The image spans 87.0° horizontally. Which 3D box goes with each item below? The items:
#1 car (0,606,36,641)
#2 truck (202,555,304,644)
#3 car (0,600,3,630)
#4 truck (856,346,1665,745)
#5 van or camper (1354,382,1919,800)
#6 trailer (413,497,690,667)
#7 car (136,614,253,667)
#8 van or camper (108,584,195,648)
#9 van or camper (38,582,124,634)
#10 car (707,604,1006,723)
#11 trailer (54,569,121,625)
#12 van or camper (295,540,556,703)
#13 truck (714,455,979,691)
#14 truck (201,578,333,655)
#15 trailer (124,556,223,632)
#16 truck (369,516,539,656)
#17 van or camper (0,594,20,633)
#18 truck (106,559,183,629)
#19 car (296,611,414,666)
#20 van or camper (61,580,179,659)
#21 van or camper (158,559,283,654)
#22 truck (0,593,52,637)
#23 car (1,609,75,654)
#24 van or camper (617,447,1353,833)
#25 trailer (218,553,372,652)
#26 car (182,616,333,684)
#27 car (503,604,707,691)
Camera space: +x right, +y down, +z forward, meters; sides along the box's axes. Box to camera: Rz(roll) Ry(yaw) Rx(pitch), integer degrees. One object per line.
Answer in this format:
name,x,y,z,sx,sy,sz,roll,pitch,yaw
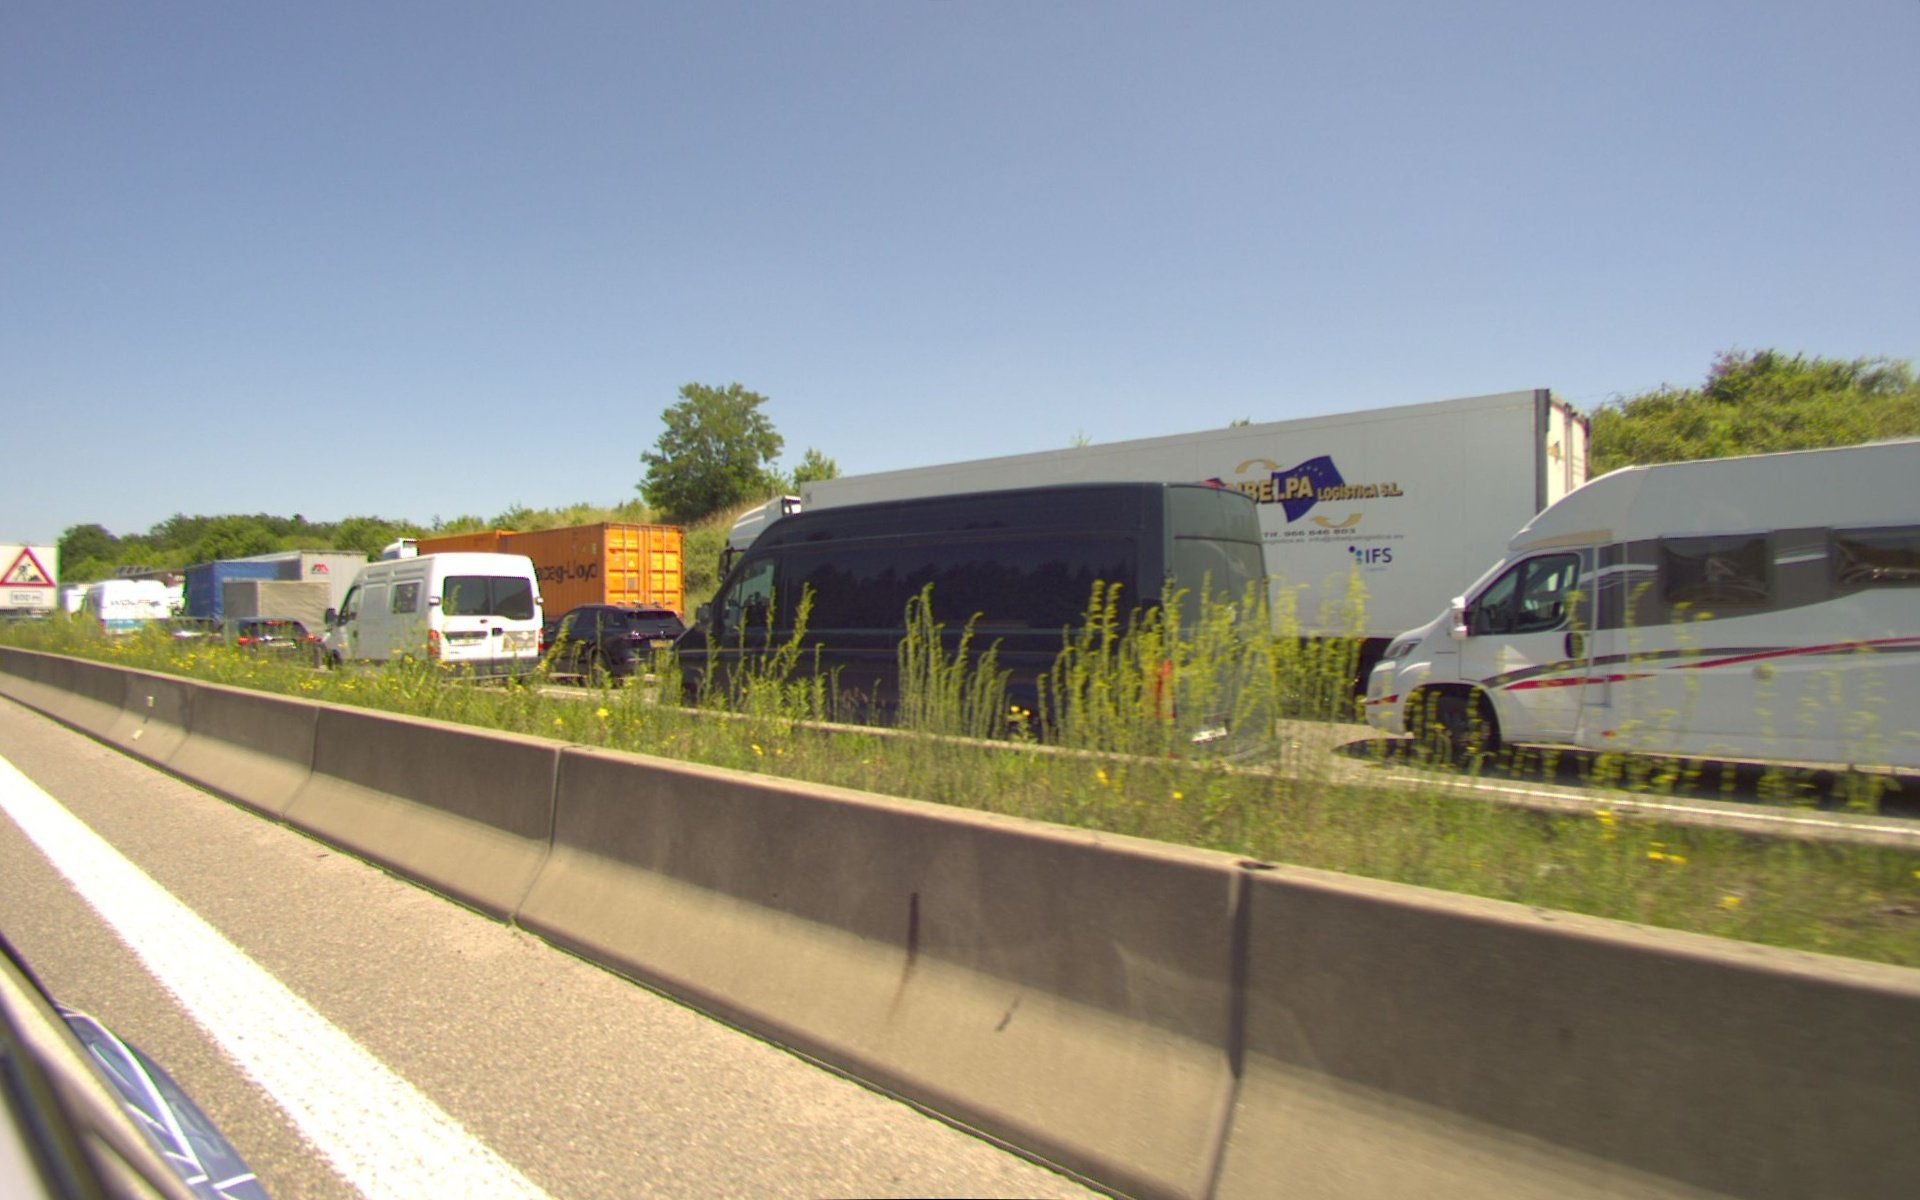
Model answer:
car,-49.974,1.208,53.029,4.971,1.743,1.793,0,0,41
truck,-35.277,-0.019,50.447,6.138,4.158,2.772,0,0,41
car,-59.482,0.914,61.196,5.541,1.823,1.793,0,0,41
truck,3.530,-0.585,16.098,12.416,4.358,2.494,0,0,41
van or camper,7.570,-0.056,8.169,7.827,2.959,2.517,0,-1,43
trailer,-12.799,-0.442,30.744,11.993,4.342,2.585,0,0,41
car,-22.657,1.138,29.897,4.428,1.419,1.882,0,-1,41
van or camper,-40.048,0.738,50.064,7.221,2.945,2.128,0,0,41
van or camper,-52.711,0.444,60.583,8.109,2.970,2.812,0,0,41
car,-1.753,0.867,15.827,4.880,1.600,1.800,0,-1,41
trailer,-71.559,-0.189,82.869,11.708,4.337,2.751,0,-1,42
van or camper,-9.908,0.358,18.488,6.054,2.525,2.170,0,-1,41
truck,-2.550,-0.506,21.539,5.665,4.358,2.493,0,0,43
truck,-24.902,0.572,36.220,6.858,2.524,2.211,0,-1,41
trailer,-47.816,-0.344,61.340,10.788,4.272,2.760,0,0,41
truck,-17.515,-0.433,34.820,7.288,4.358,2.563,0,0,40
van or camper,-87.628,1.193,92.067,7.942,3.385,2.502,0,0,43
truck,-53.500,-0.354,66.335,7.026,4.337,2.752,0,-1,41
car,-17.482,1.057,29.168,4.111,1.476,1.713,0,-1,41
van or camper,-29.752,0.637,35.755,6.413,2.560,2.170,0,-1,41
van or camper,-29.368,0.255,40.057,7.675,3.416,2.289,0,-1,41
truck,-96.194,1.478,103.905,11.481,4.253,3.024,0,0,41
car,-39.152,1.297,42.940,4.933,1.743,1.793,0,0,41
van or camper,-0.309,0.275,9.691,7.279,2.453,2.273,0,-1,41
trailer,-30.847,0.126,46.581,12.245,4.064,2.752,0,0,41
car,-16.776,1.112,24.080,4.880,1.419,1.800,0,-1,41
car,-7.429,0.895,20.907,4.880,1.600,1.800,0,-1,41
